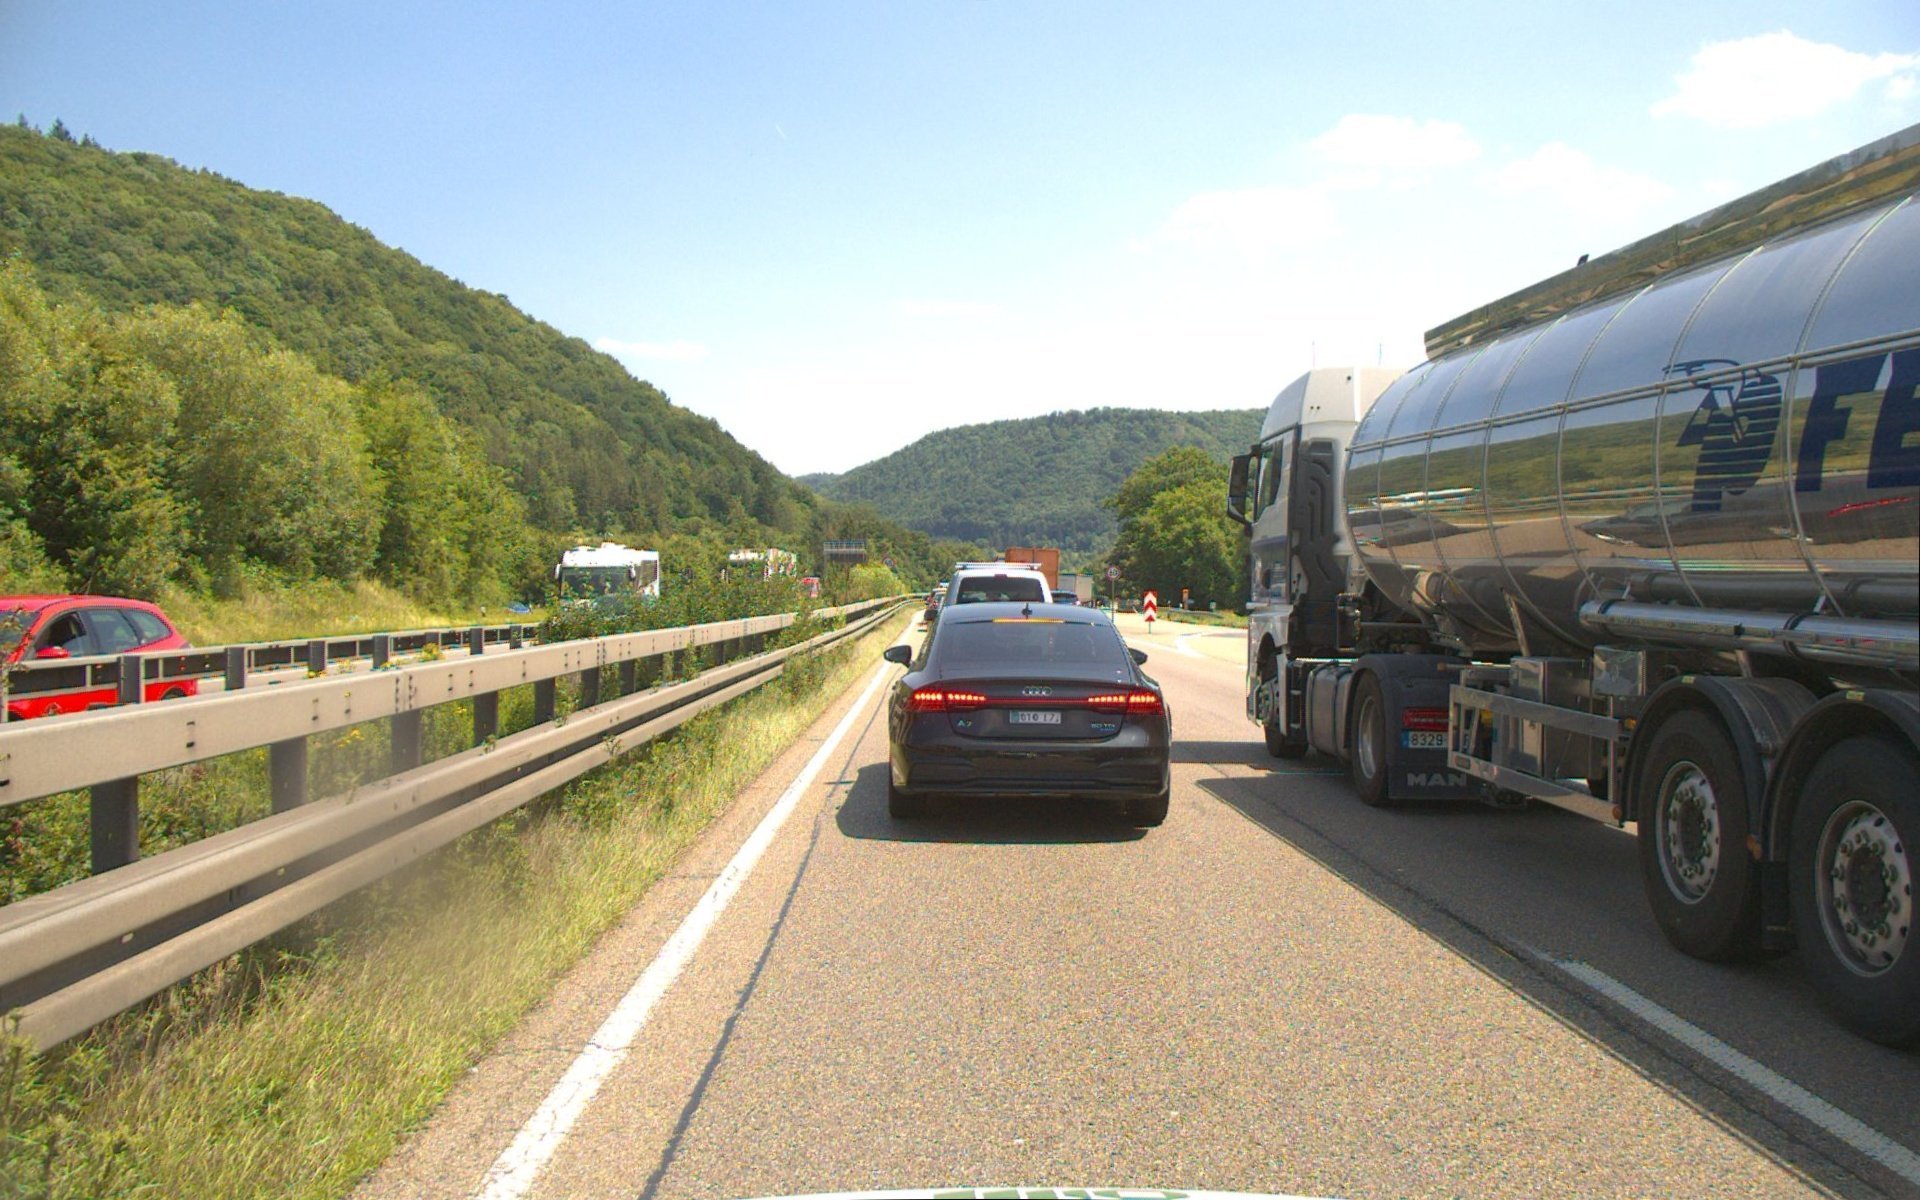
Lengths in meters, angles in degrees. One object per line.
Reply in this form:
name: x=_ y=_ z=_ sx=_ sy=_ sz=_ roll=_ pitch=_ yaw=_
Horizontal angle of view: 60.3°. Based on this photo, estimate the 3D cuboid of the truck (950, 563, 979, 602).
truck: x=0.374 y=-1.580 z=152.458 sx=2.575 sy=3.500 sz=11.420 roll=0 pitch=0 yaw=0

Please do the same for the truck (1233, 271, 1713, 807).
truck: x=4.119 y=-0.448 z=14.494 sx=2.460 sy=3.824 sz=5.244 roll=1 pitch=0 yaw=-1

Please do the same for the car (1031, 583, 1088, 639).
car: x=3.723 y=0.373 z=62.575 sx=1.952 sy=2.037 sz=4.000 roll=0 pitch=0 yaw=0

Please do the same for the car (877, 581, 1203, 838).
car: x=0.380 y=0.641 z=11.869 sx=1.813 sy=1.514 sz=4.079 roll=1 pitch=0 yaw=-5

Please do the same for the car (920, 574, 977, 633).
car: x=-0.436 y=0.106 z=59.124 sx=1.953 sy=2.049 sz=3.999 roll=0 pitch=0 yaw=-1

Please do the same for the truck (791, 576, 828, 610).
truck: x=-12.053 y=-0.538 z=132.908 sx=2.249 sy=2.633 sz=7.968 roll=0 pitch=0 yaw=0

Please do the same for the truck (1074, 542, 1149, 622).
truck: x=8.217 y=-0.954 z=91.578 sx=2.760 sy=4.073 sz=14.955 roll=1 pitch=0 yaw=0

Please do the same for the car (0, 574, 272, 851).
car: x=-7.793 y=0.814 z=14.374 sx=1.954 sy=2.049 sz=4.332 roll=1 pitch=0 yaw=-3

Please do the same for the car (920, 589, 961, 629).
car: x=-0.803 y=0.373 z=71.472 sx=1.677 sy=1.646 sz=4.000 roll=0 pitch=0 yaw=0

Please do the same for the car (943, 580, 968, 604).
car: x=-0.303 y=-0.534 z=115.385 sx=1.677 sy=1.646 sz=4.000 roll=0 pitch=0 yaw=0

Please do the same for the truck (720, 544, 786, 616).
truck: x=-12.430 y=-1.166 z=100.109 sx=2.811 sy=4.076 sz=10.168 roll=1 pitch=0 yaw=-1

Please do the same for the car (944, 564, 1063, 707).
car: x=0.551 y=0.457 z=23.749 sx=1.544 sy=1.865 sz=3.999 roll=1 pitch=0 yaw=-1

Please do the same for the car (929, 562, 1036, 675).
car: x=0.393 y=0.324 z=32.330 sx=1.953 sy=2.049 sz=3.999 roll=1 pitch=0 yaw=-1

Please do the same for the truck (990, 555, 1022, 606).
truck: x=3.319 y=-1.407 z=121.228 sx=1.953 sy=3.507 sz=11.810 roll=1 pitch=0 yaw=0

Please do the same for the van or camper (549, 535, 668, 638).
van or camper: x=-12.210 y=-0.464 z=58.087 sx=2.537 sy=3.394 sz=7.647 roll=0 pitch=0 yaw=0

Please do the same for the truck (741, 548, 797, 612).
truck: x=-12.609 y=-1.279 z=109.729 sx=2.811 sy=4.050 sz=9.030 roll=1 pitch=0 yaw=-1

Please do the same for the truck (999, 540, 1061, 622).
truck: x=3.720 y=-0.998 z=90.922 sx=2.760 sy=4.073 sz=14.955 roll=1 pitch=0 yaw=0

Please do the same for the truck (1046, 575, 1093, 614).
truck: x=13.434 y=-0.679 z=201.592 sx=3.712 sy=4.491 sz=14.968 roll=0 pitch=0 yaw=12

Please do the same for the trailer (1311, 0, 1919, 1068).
trailer: x=4.269 y=-0.408 z=7.688 sx=2.487 sy=3.801 sz=11.888 roll=1 pitch=0 yaw=-1
